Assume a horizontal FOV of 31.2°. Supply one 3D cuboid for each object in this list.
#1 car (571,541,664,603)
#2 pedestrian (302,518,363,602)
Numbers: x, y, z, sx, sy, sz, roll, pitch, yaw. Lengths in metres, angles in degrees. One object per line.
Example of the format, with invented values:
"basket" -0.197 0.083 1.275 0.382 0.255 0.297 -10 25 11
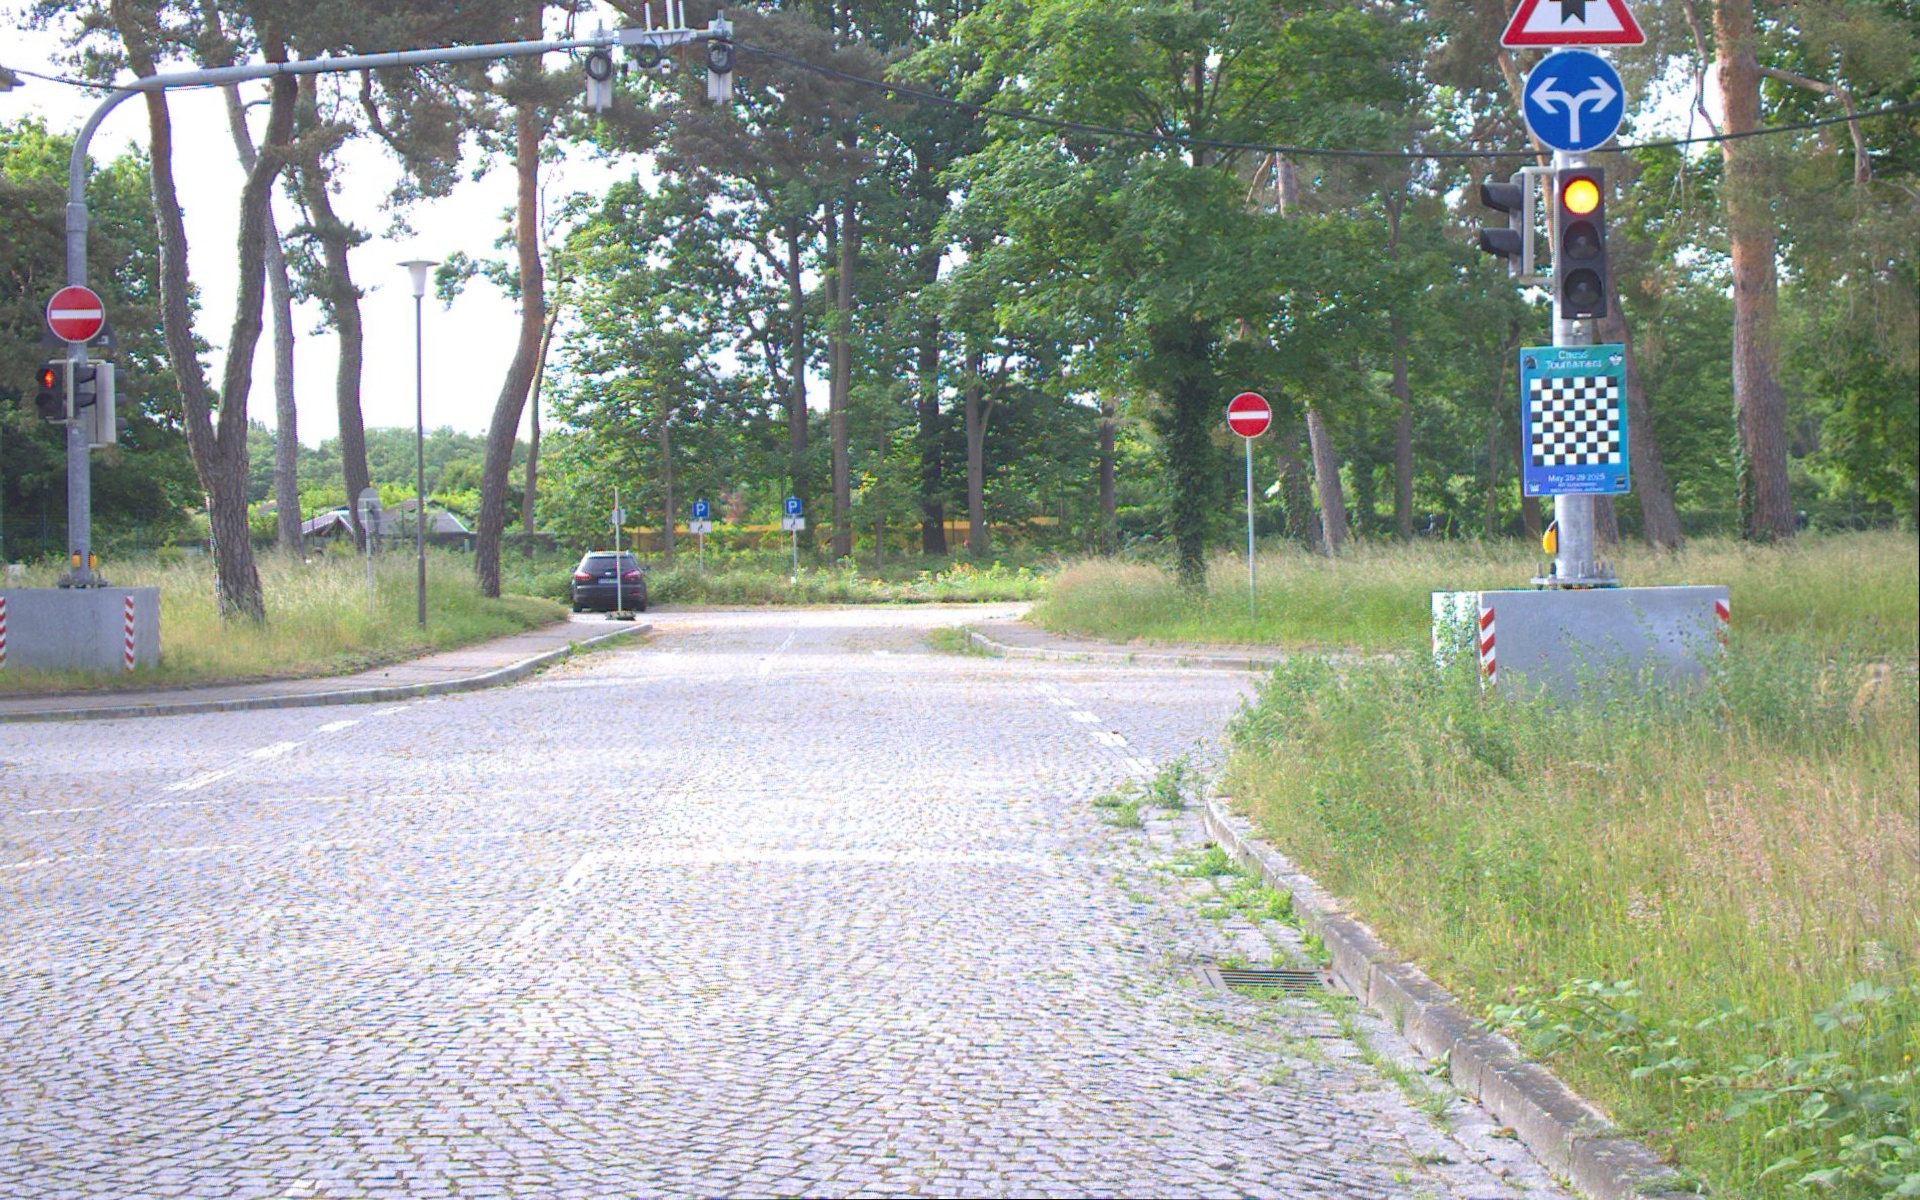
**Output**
"car" -8.679 -0.726 87.331 1.993 1.503 4.000 1 1 -1
"pedestrian" -14.295 -0.916 78.331 1.211 1.884 0.747 -1 1 1
